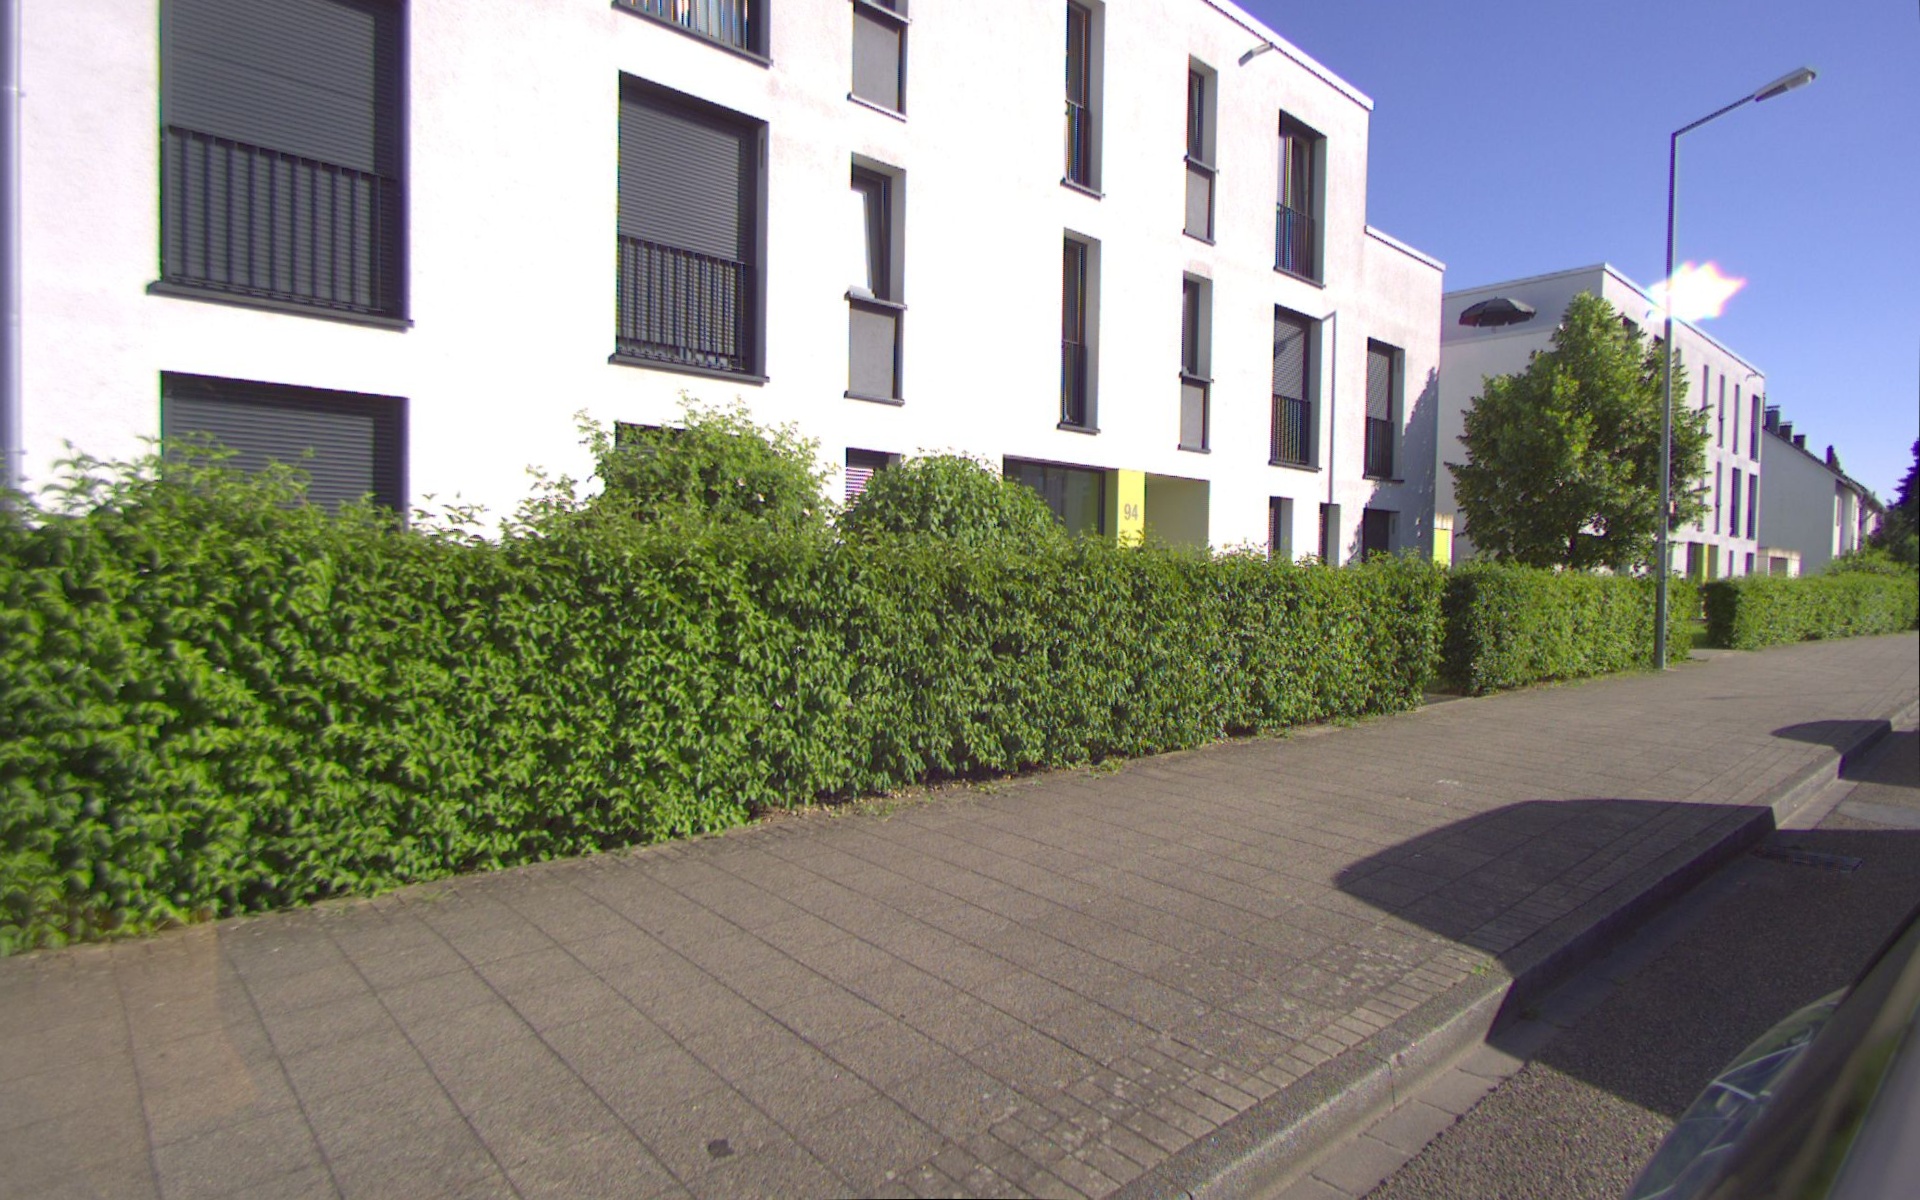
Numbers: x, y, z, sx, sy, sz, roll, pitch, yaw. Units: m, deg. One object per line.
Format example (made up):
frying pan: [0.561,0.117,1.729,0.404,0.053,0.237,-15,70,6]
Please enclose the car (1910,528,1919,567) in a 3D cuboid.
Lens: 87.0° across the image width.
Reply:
car: [62.913,-3.344,64.230,6.066,2.376,3.181,-1,1,-40]
